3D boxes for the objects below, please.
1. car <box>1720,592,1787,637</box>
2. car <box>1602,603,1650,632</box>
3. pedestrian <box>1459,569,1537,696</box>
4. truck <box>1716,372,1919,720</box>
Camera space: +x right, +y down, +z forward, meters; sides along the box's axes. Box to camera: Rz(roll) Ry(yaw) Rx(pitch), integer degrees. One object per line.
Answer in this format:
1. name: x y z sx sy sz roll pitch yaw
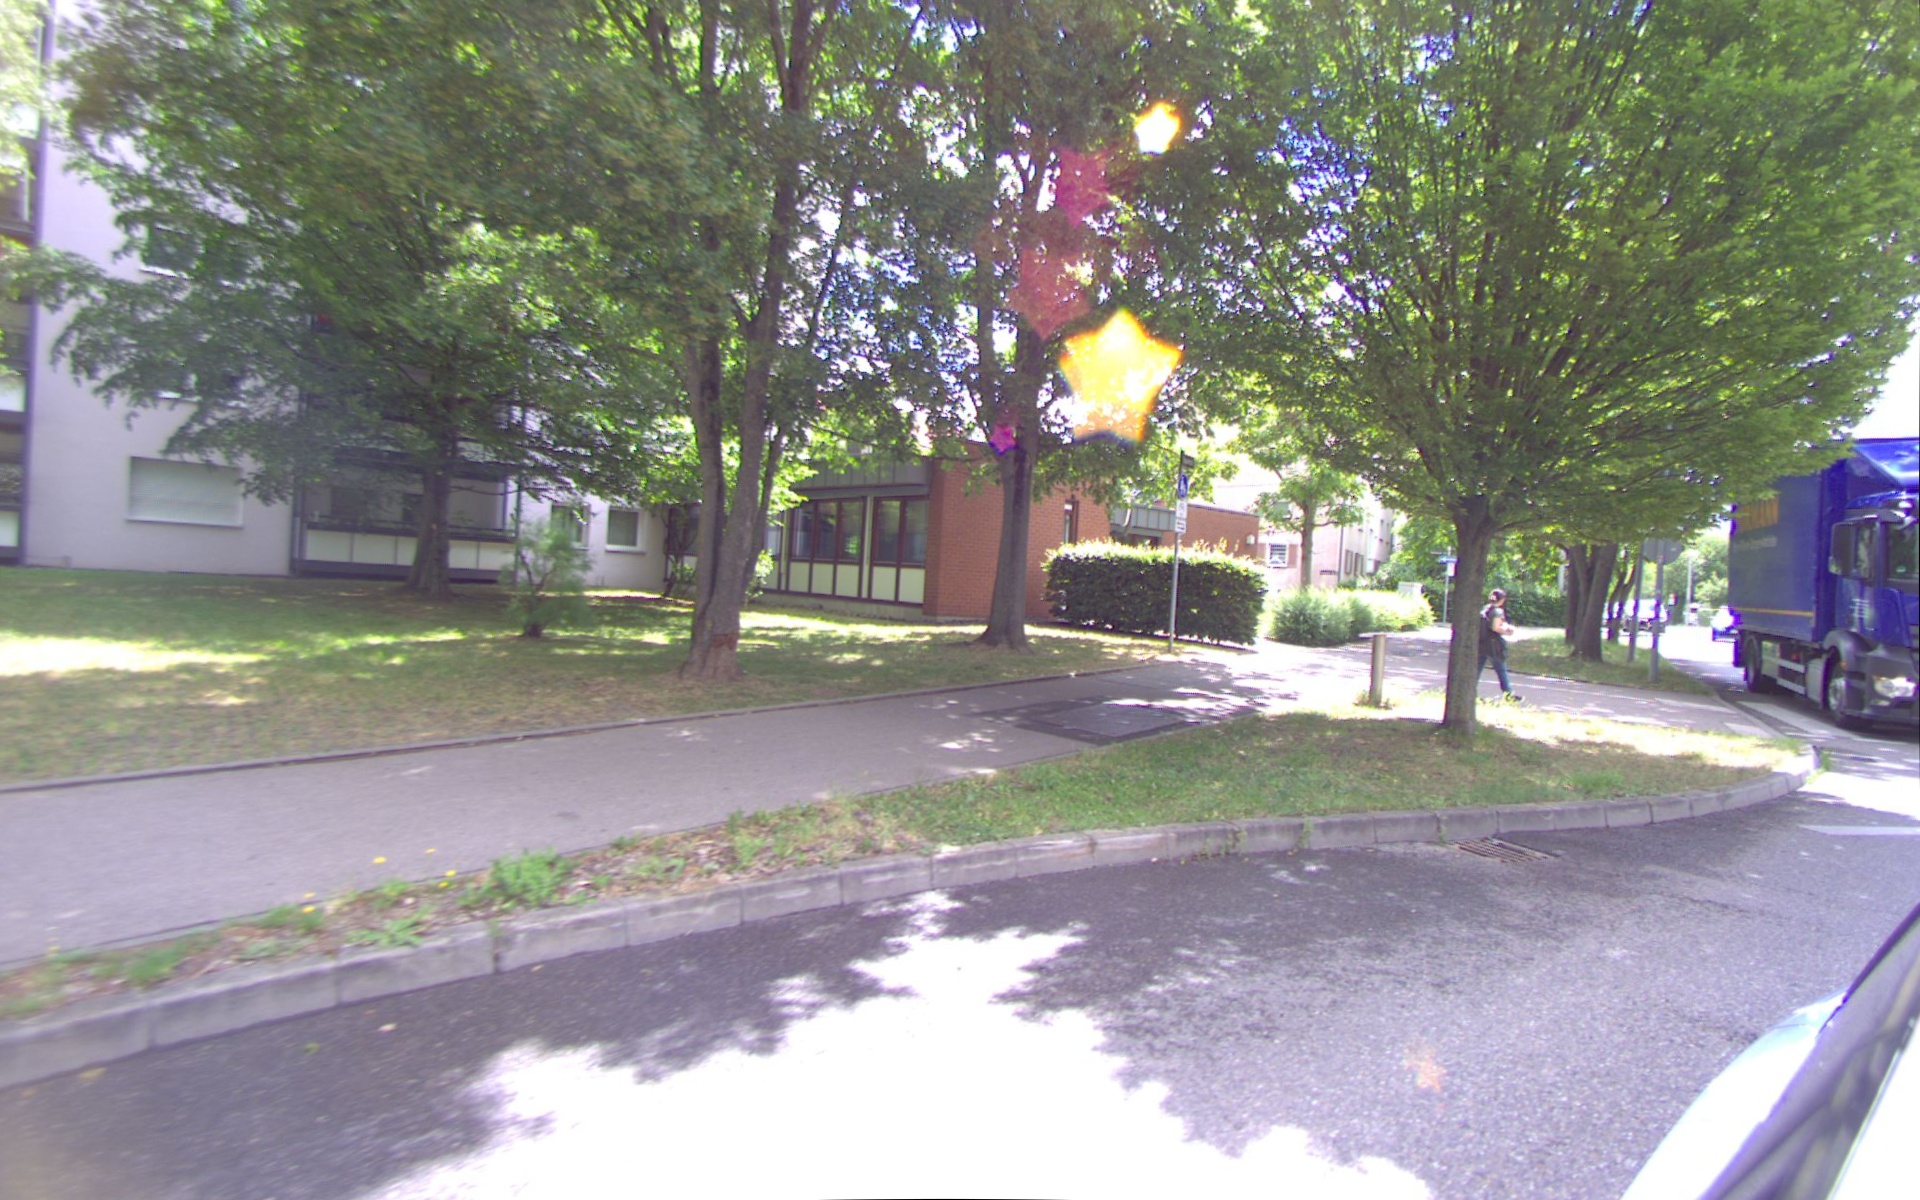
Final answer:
1. car: 34.368 0.661 43.929 1.989 1.697 3.947 5 1 36
2. car: 40.940 1.075 62.295 1.983 1.572 3.959 5 1 28
3. pedestrian: 7.194 0.407 13.527 0.717 1.598 0.829 4 4 38
4. truck: 14.666 -0.537 16.053 2.766 4.204 9.695 4 1 29
